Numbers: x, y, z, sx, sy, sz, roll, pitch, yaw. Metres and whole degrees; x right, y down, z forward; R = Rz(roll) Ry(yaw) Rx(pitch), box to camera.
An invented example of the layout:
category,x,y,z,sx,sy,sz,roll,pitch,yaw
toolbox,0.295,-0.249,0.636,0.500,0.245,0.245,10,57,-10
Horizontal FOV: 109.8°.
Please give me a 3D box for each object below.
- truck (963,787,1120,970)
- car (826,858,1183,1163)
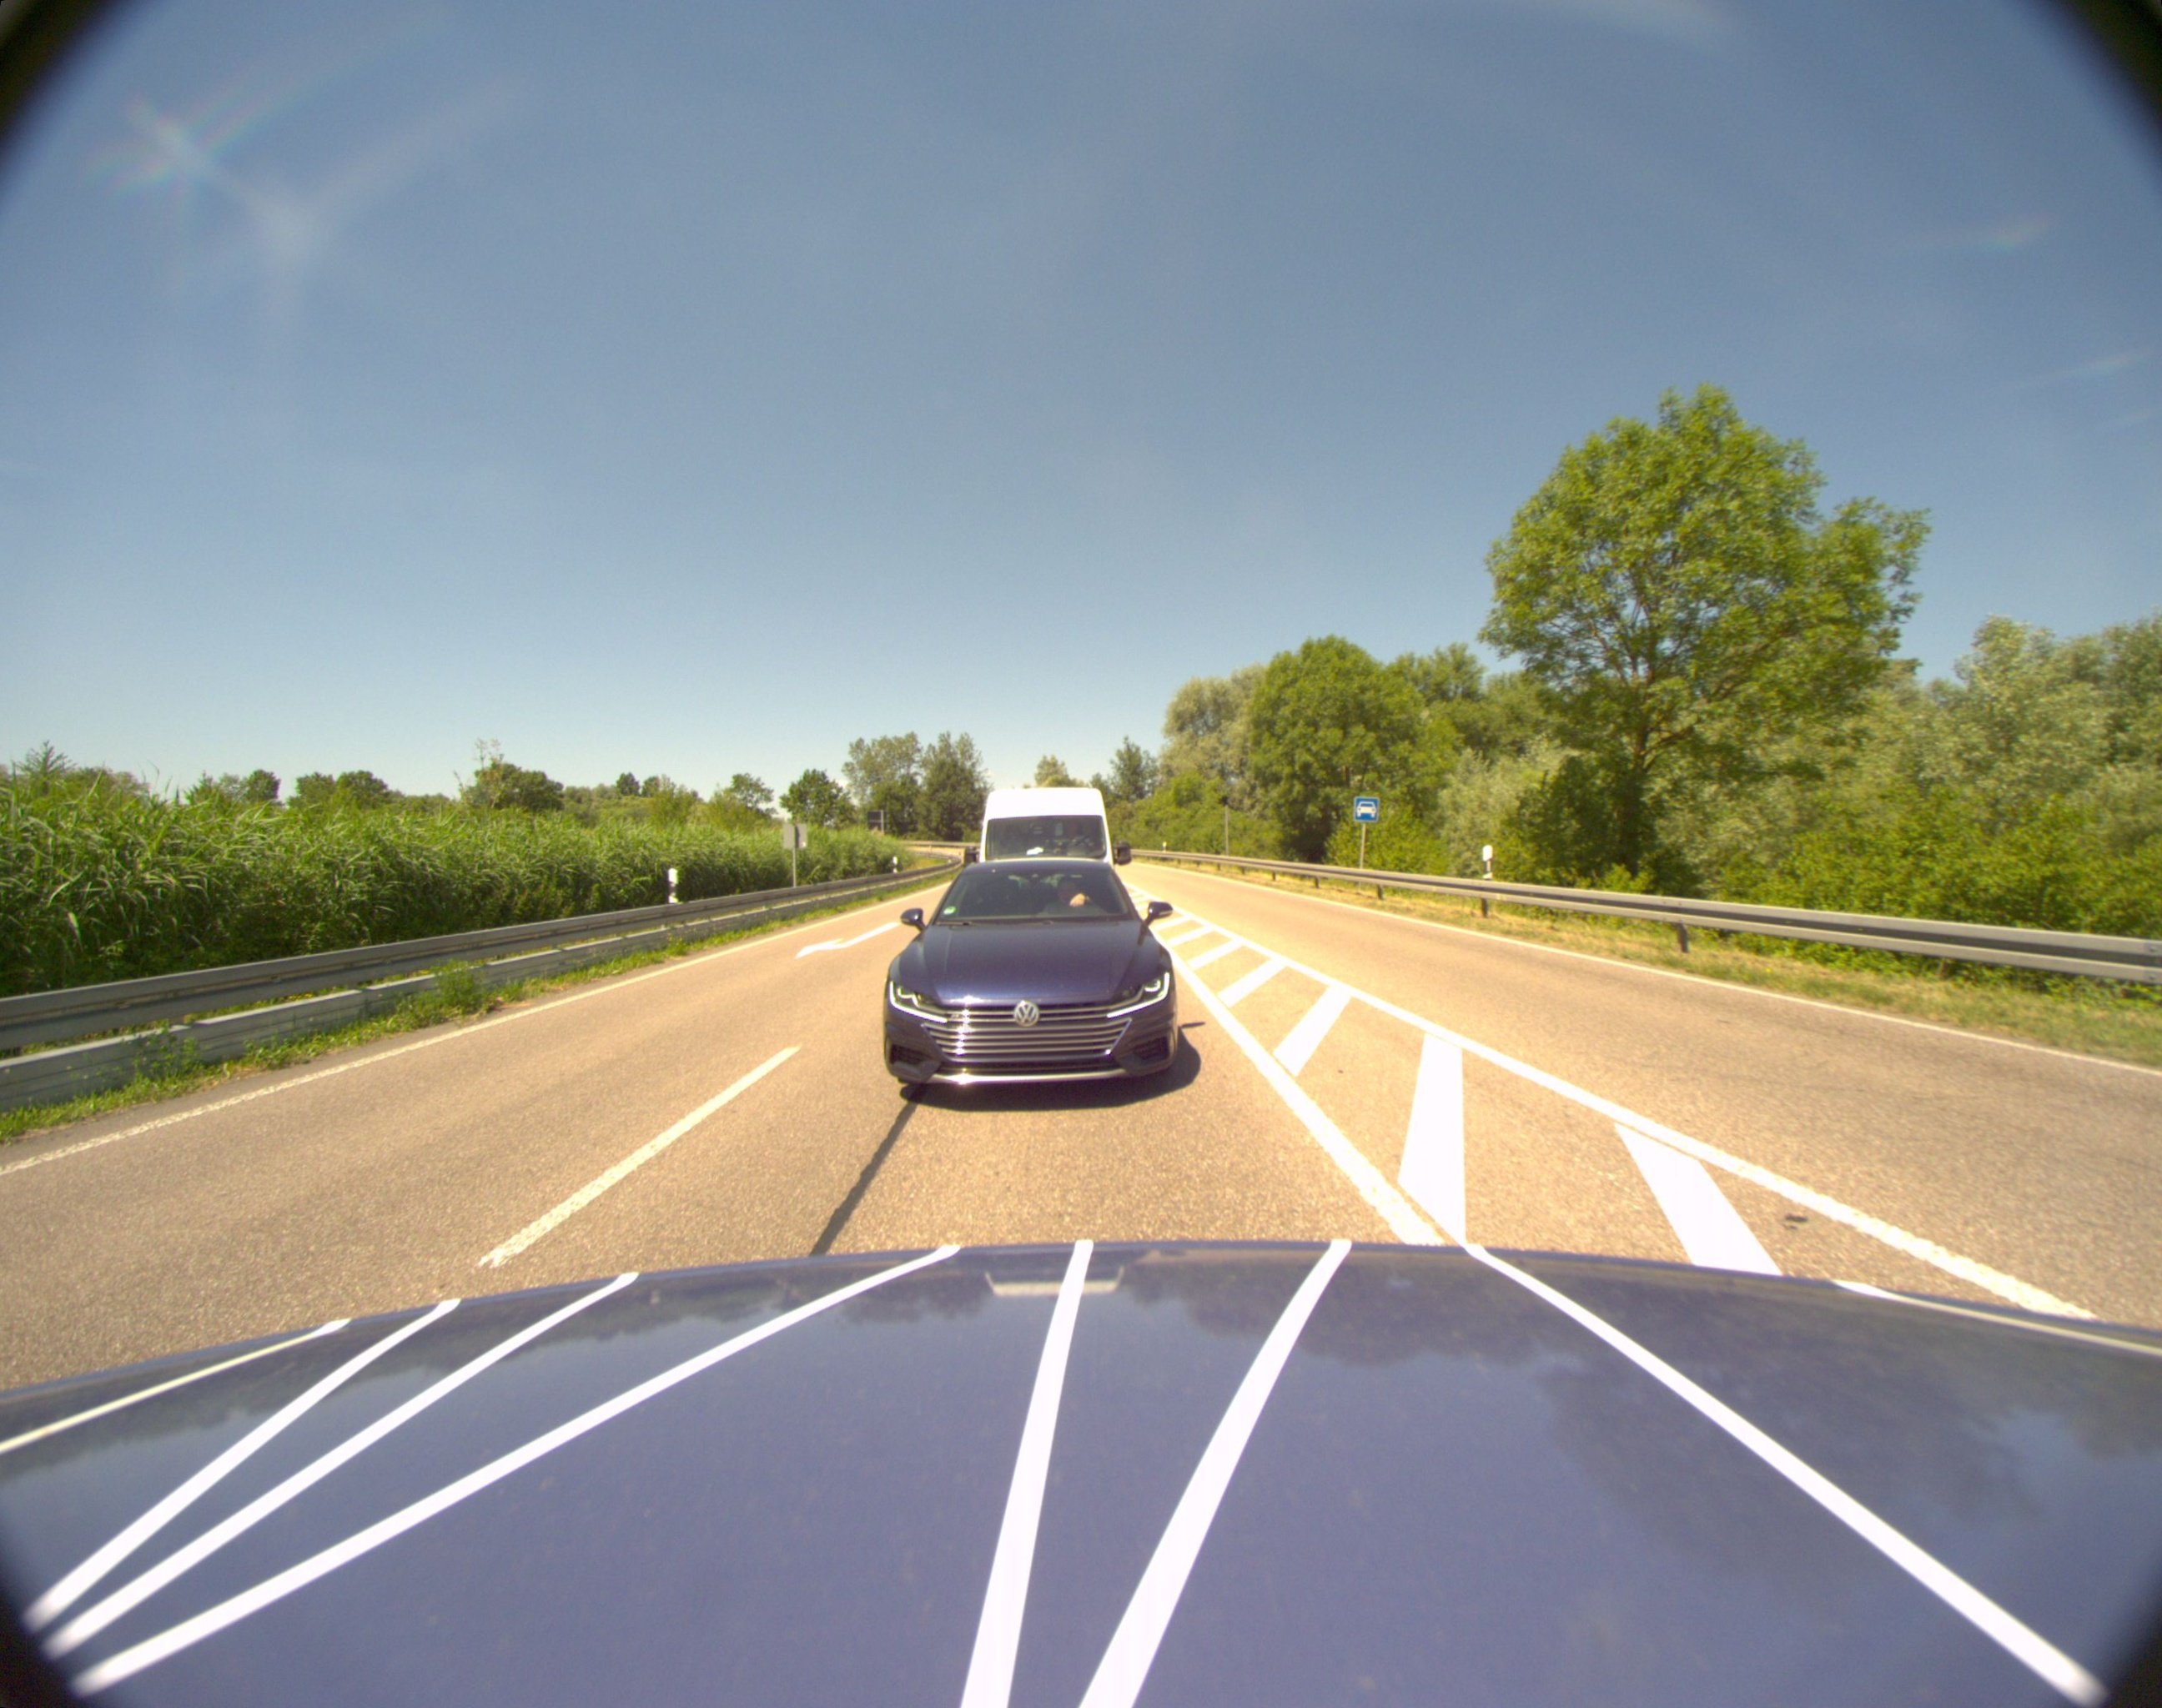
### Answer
category,x,y,z,sx,sy,sz,roll,pitch,yaw
truck,-0.702,0.273,13.022,2.011,2.365,5.909,-2,1,-4
car,-0.372,0.833,6.169,1.819,1.454,4.414,-2,1,1
